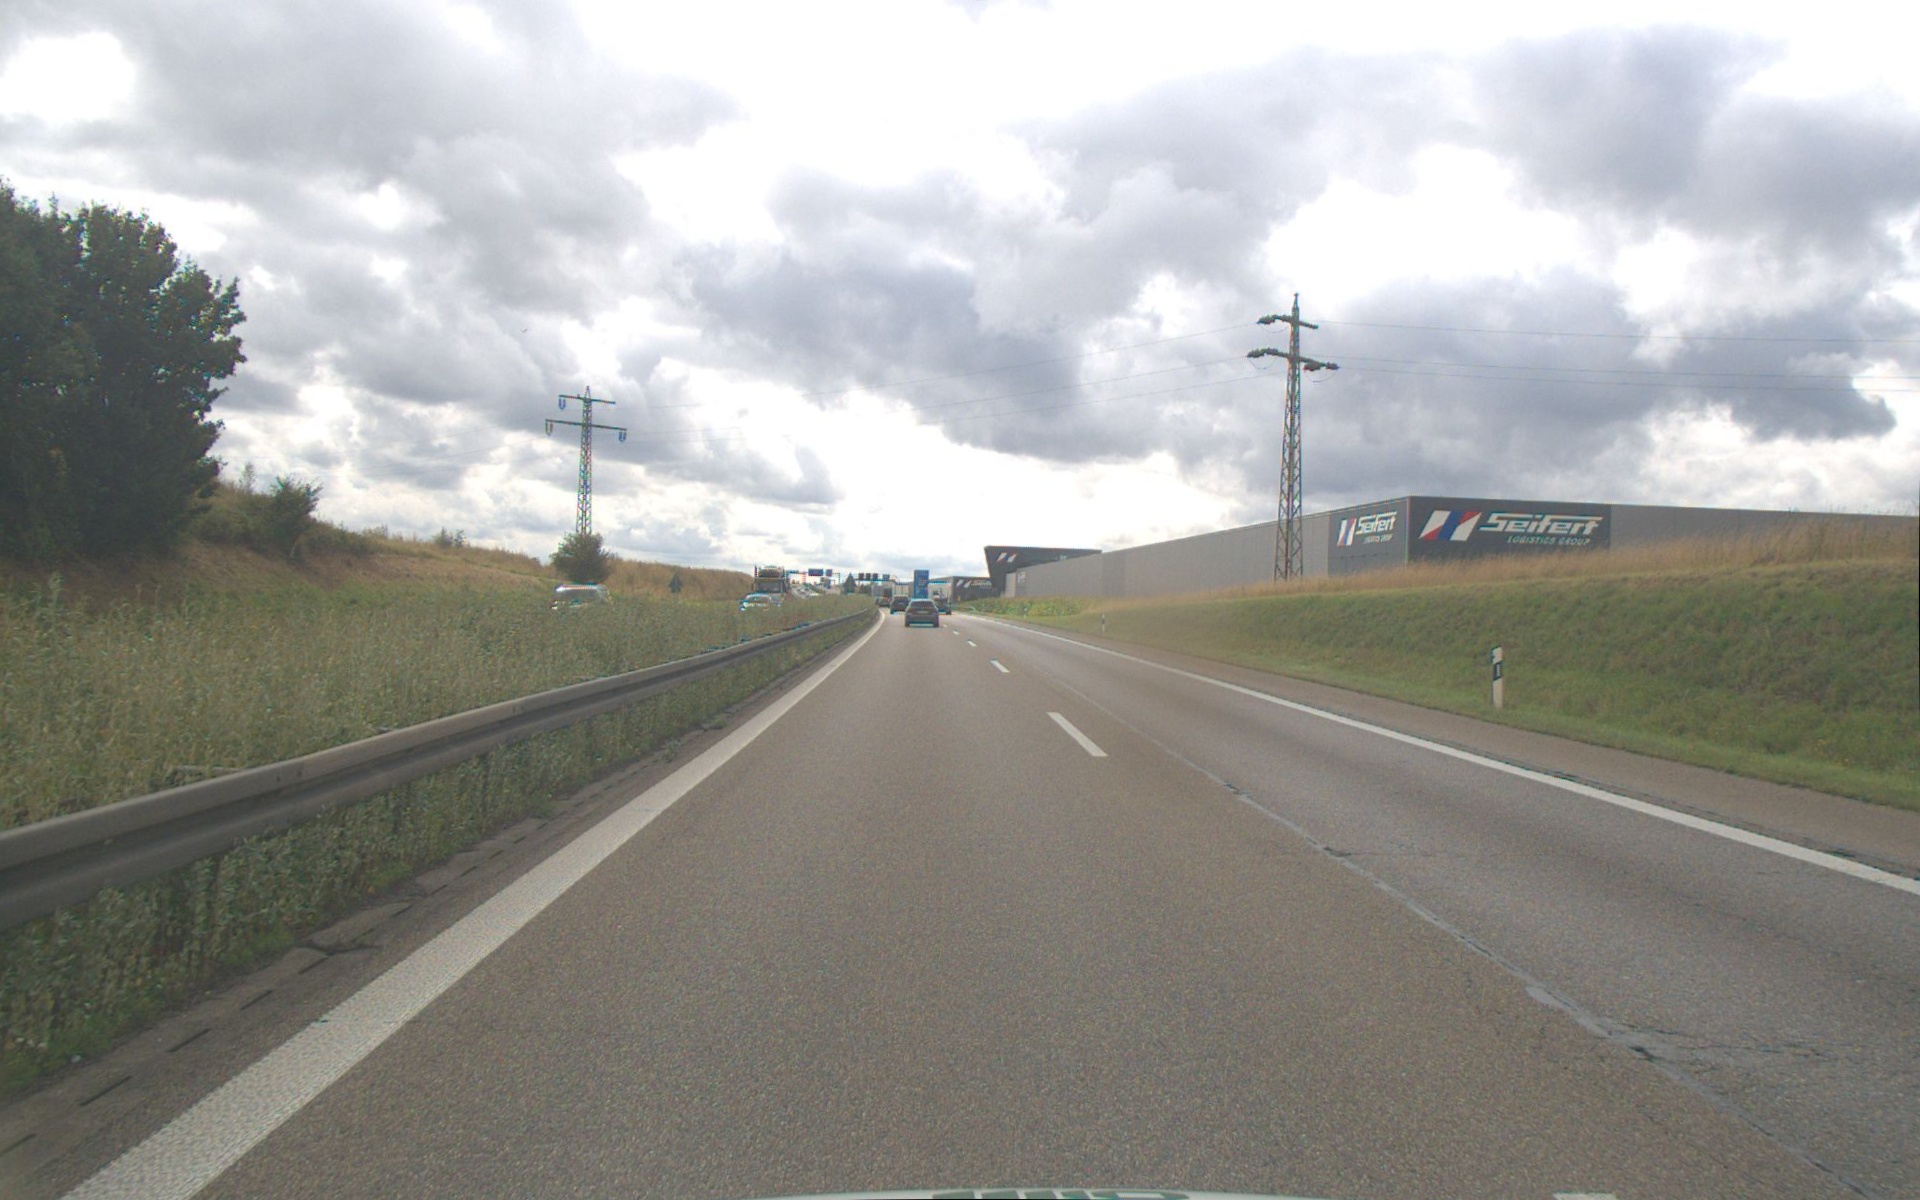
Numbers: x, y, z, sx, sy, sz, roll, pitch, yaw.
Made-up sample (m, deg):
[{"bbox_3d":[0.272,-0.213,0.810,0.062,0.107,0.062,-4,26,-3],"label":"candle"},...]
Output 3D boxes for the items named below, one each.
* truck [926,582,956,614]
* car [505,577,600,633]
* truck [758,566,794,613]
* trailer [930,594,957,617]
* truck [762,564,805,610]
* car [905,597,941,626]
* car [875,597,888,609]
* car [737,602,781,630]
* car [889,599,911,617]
[{"bbox_3d":[-1.930,-0.171,163.649,2.434,3.002,5.807,1,0,-6],"label":"truck"},{"bbox_3d":[-12.558,0.163,51.308,1.890,1.603,5.618,1,0,-4],"label":"car"},{"bbox_3d":[-15.935,-0.901,143.422,2.668,4.005,5.984,0,0,-2],"label":"truck"},{"bbox_3d":[-1.582,0.510,156.780,2.292,2.174,3.997,1,0,-4],"label":"trailer"},{"bbox_3d":[-16.221,-1.144,153.100,2.668,4.005,17.395,0,0,-2],"label":"truck"},{"bbox_3d":[-1.970,0.603,87.341,1.712,1.478,3.997,1,0,-4],"label":"car"},{"bbox_3d":[-11.922,0.424,250.882,1.904,1.806,3.694,1,0,-2],"label":"car"},{"bbox_3d":[-11.008,0.859,90.934,1.953,1.482,4.442,1,0,-2],"label":"car"},{"bbox_3d":[-5.708,0.761,156.880,1.907,1.714,3.997,1,0,-4],"label":"car"}]
